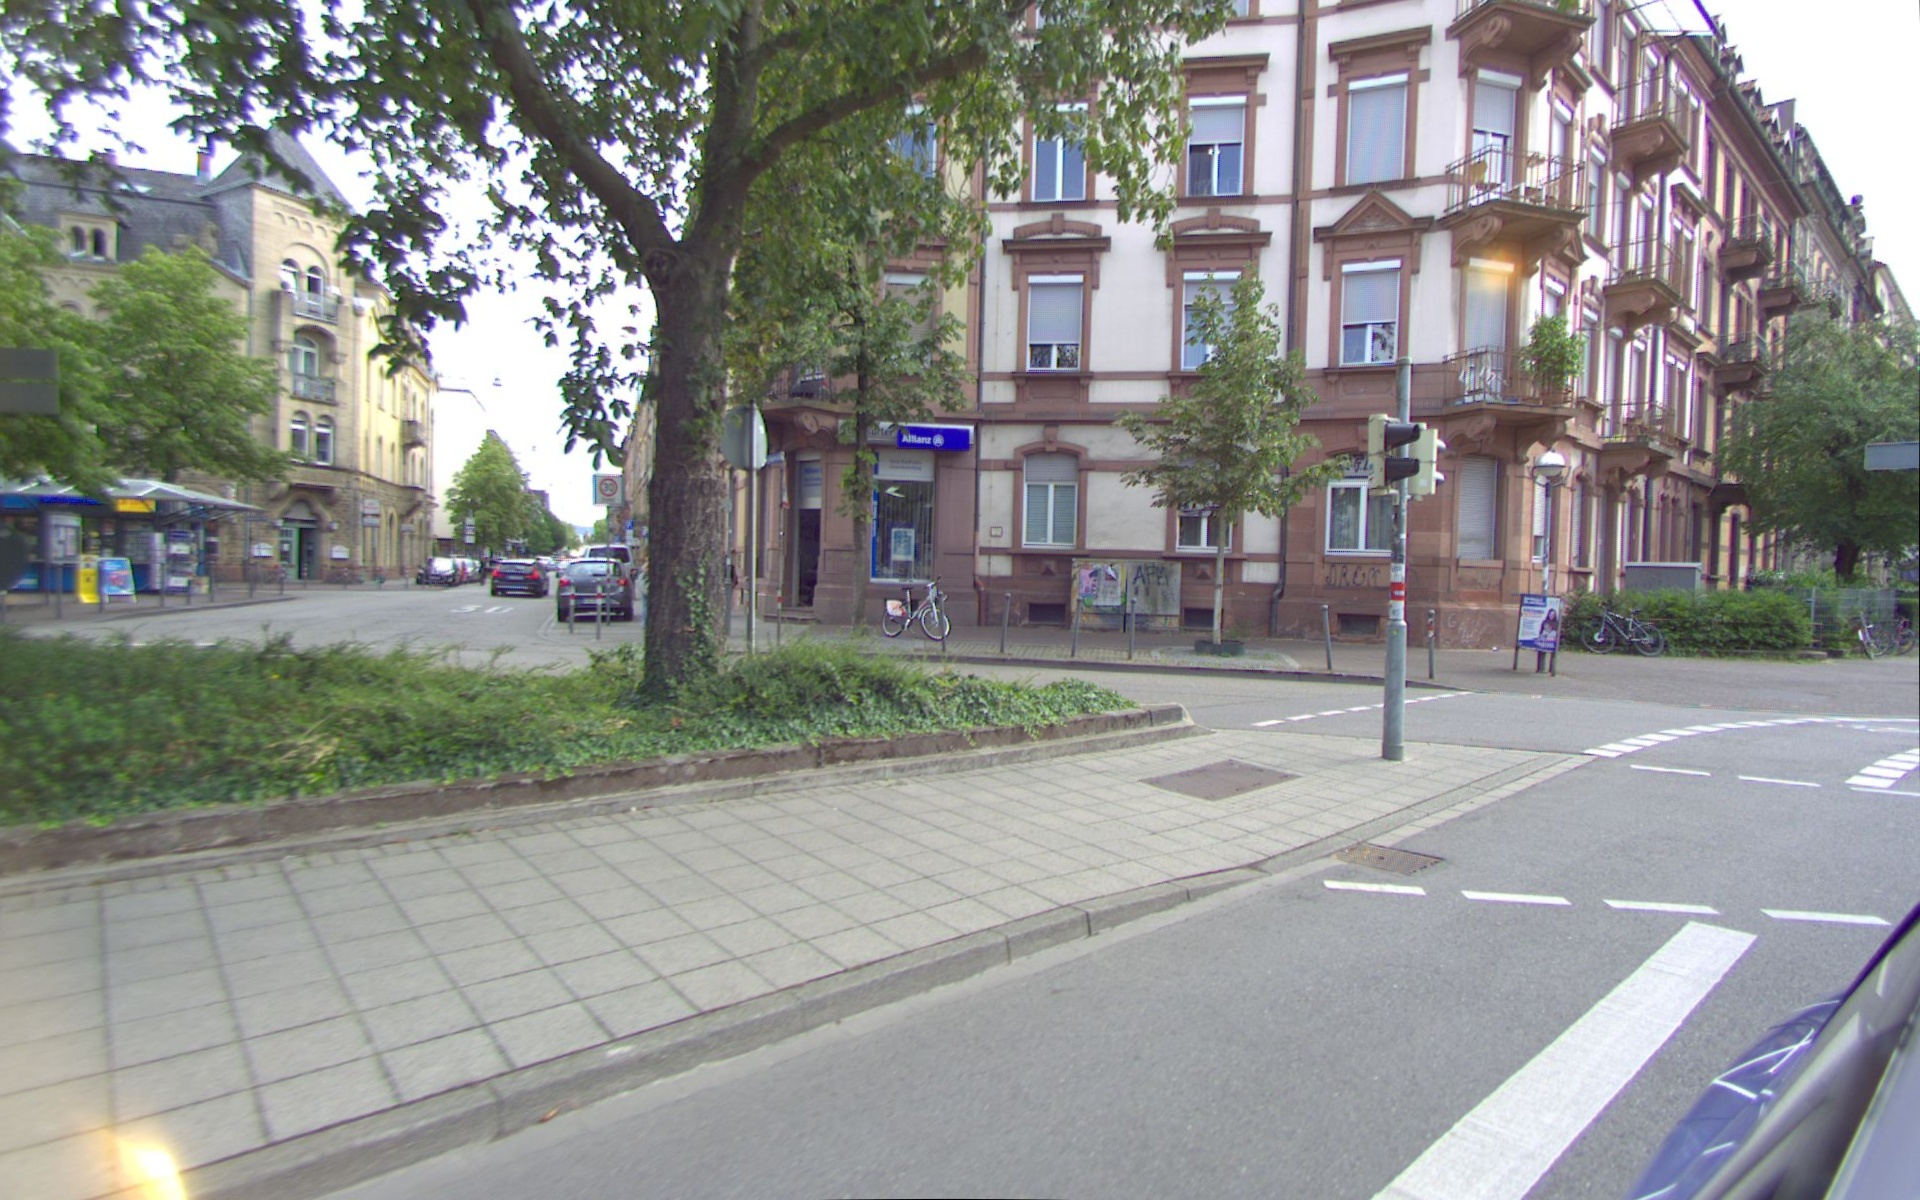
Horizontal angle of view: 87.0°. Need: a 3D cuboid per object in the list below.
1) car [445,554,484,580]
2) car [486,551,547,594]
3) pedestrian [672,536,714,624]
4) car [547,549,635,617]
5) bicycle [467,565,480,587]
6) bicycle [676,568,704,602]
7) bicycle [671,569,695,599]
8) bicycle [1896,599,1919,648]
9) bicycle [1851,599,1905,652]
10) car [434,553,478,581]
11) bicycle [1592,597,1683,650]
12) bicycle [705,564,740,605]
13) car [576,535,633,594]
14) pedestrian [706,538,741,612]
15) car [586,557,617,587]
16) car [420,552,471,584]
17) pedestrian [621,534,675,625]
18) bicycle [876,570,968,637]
[{"bbox_3d":[-31.063,-2.075,63.528,1.958,1.538,4.009,0,2,-23],"label":"car"},{"bbox_3d":[-17.074,-1.071,39.137,1.780,1.542,4.010,1,2,-18],"label":"car"},{"bbox_3d":[-5.516,-0.430,20.874,0.741,1.750,0.896,2,3,-18],"label":"pedestrian"},{"bbox_3d":[-8.768,-0.435,24.071,1.780,1.459,4.010,1,2,-20],"label":"car"},{"bbox_3d":[-26.970,-1.340,56.130,0.499,1.101,1.555,2,4,-22],"label":"bicycle"},{"bbox_3d":[-9.656,-0.546,36.165,0.659,1.134,1.944,1,2,-23],"label":"bicycle"},{"bbox_3d":[-10.939,-0.645,39.913,0.659,1.134,1.944,1,2,-23],"label":"bicycle"},{"bbox_3d":[22.713,0.545,23.999,1.523,1.101,0.510,0,5,-42],"label":"bicycle"},{"bbox_3d":[20.446,0.547,22.534,1.643,1.120,0.672,0,2,-42],"label":"bicycle"},{"bbox_3d":[-28.747,-1.880,57.798,1.958,1.538,4.009,0,2,-23],"label":"car"},{"bbox_3d":[13.458,0.465,20.122,1.518,0.981,0.511,2,1,-9],"label":"bicycle"},{"bbox_3d":[-6.984,-0.468,29.673,0.659,1.134,1.944,1,2,-23],"label":"bicycle"},{"bbox_3d":[-13.143,-1.323,37.329,1.829,2.005,4.010,1,2,-20],"label":"car"},{"bbox_3d":[-5.837,-0.621,24.935,0.717,1.750,0.896,2,3,-18],"label":"pedestrian"},{"bbox_3d":[-22.759,-1.805,64.121,1.780,1.771,4.010,1,2,-20],"label":"car"},{"bbox_3d":[-26.049,-1.614,51.327,1.958,1.538,4.009,0,2,-23],"label":"car"},{"bbox_3d":[-6.221,-0.422,20.214,0.875,1.750,0.734,2,2,-9],"label":"pedestrian"},{"bbox_3d":[-0.724,0.044,18.794,1.665,1.158,0.663,3,2,40],"label":"bicycle"}]
